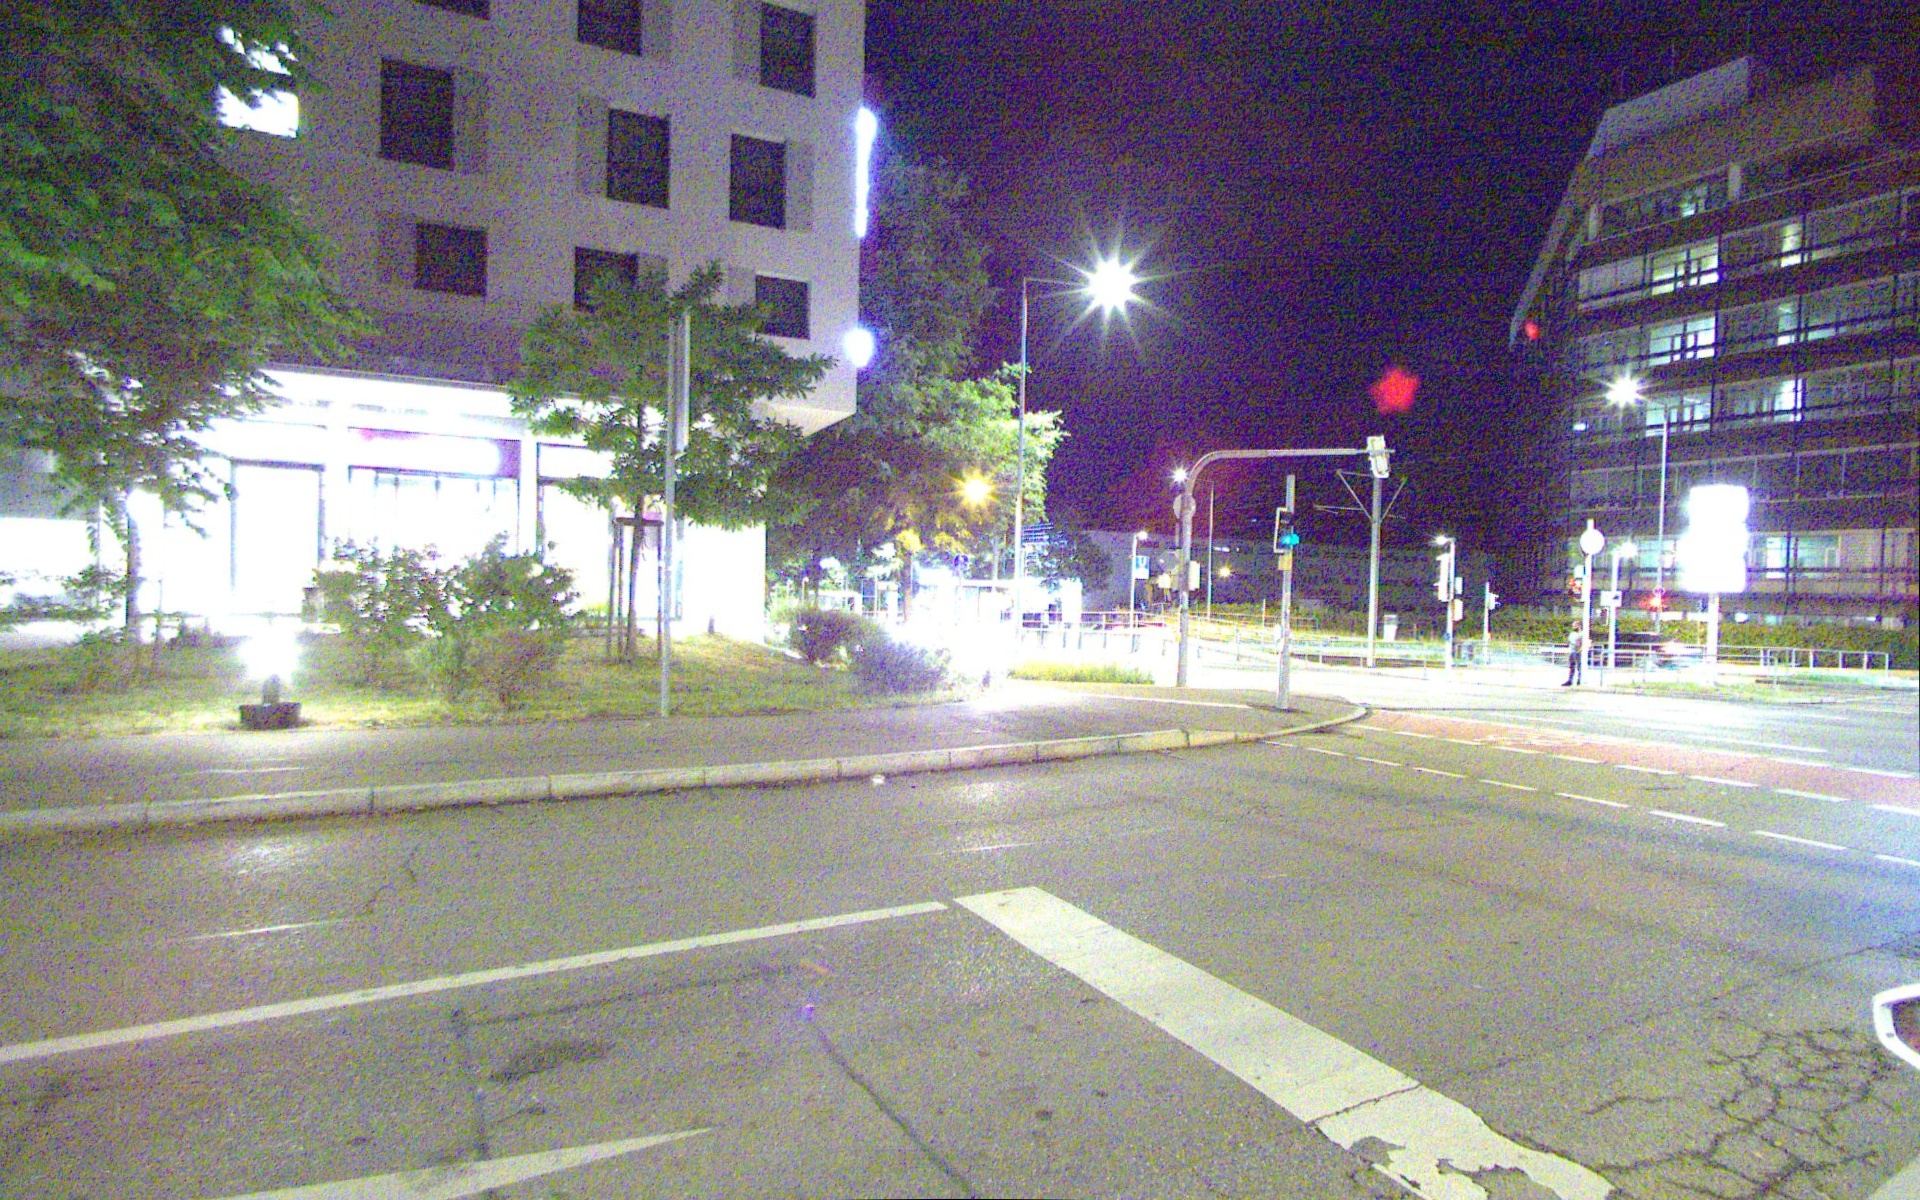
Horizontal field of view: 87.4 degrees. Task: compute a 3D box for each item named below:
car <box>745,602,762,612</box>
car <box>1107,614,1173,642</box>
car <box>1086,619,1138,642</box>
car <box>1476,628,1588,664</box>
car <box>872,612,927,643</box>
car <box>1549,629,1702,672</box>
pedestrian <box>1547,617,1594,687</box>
[{"bbox_3d":[-33.476,1.117,162.929,1.845,1.506,3.822,3,0,-26],"label":"car"},{"bbox_3d":[11.682,1.767,65.490,1.823,1.606,4.552,0,1,-27],"label":"car"},{"bbox_3d":[11.216,2.309,74.380,1.779,1.605,4.222,3,-3,-25],"label":"car"},{"bbox_3d":[24.233,1.933,42.677,1.745,1.423,3.859,2,-2,-26],"label":"car"},{"bbox_3d":[-3.380,1.489,55.333,1.672,1.472,3.975,3,0,-25],"label":"car"},{"bbox_3d":[24.436,1.829,37.041,1.826,1.439,4.413,2,-2,-26],"label":"car"},{"bbox_3d":[15.710,1.318,25.856,0.693,1.745,0.678,2,0,-5],"label":"pedestrian"}]
